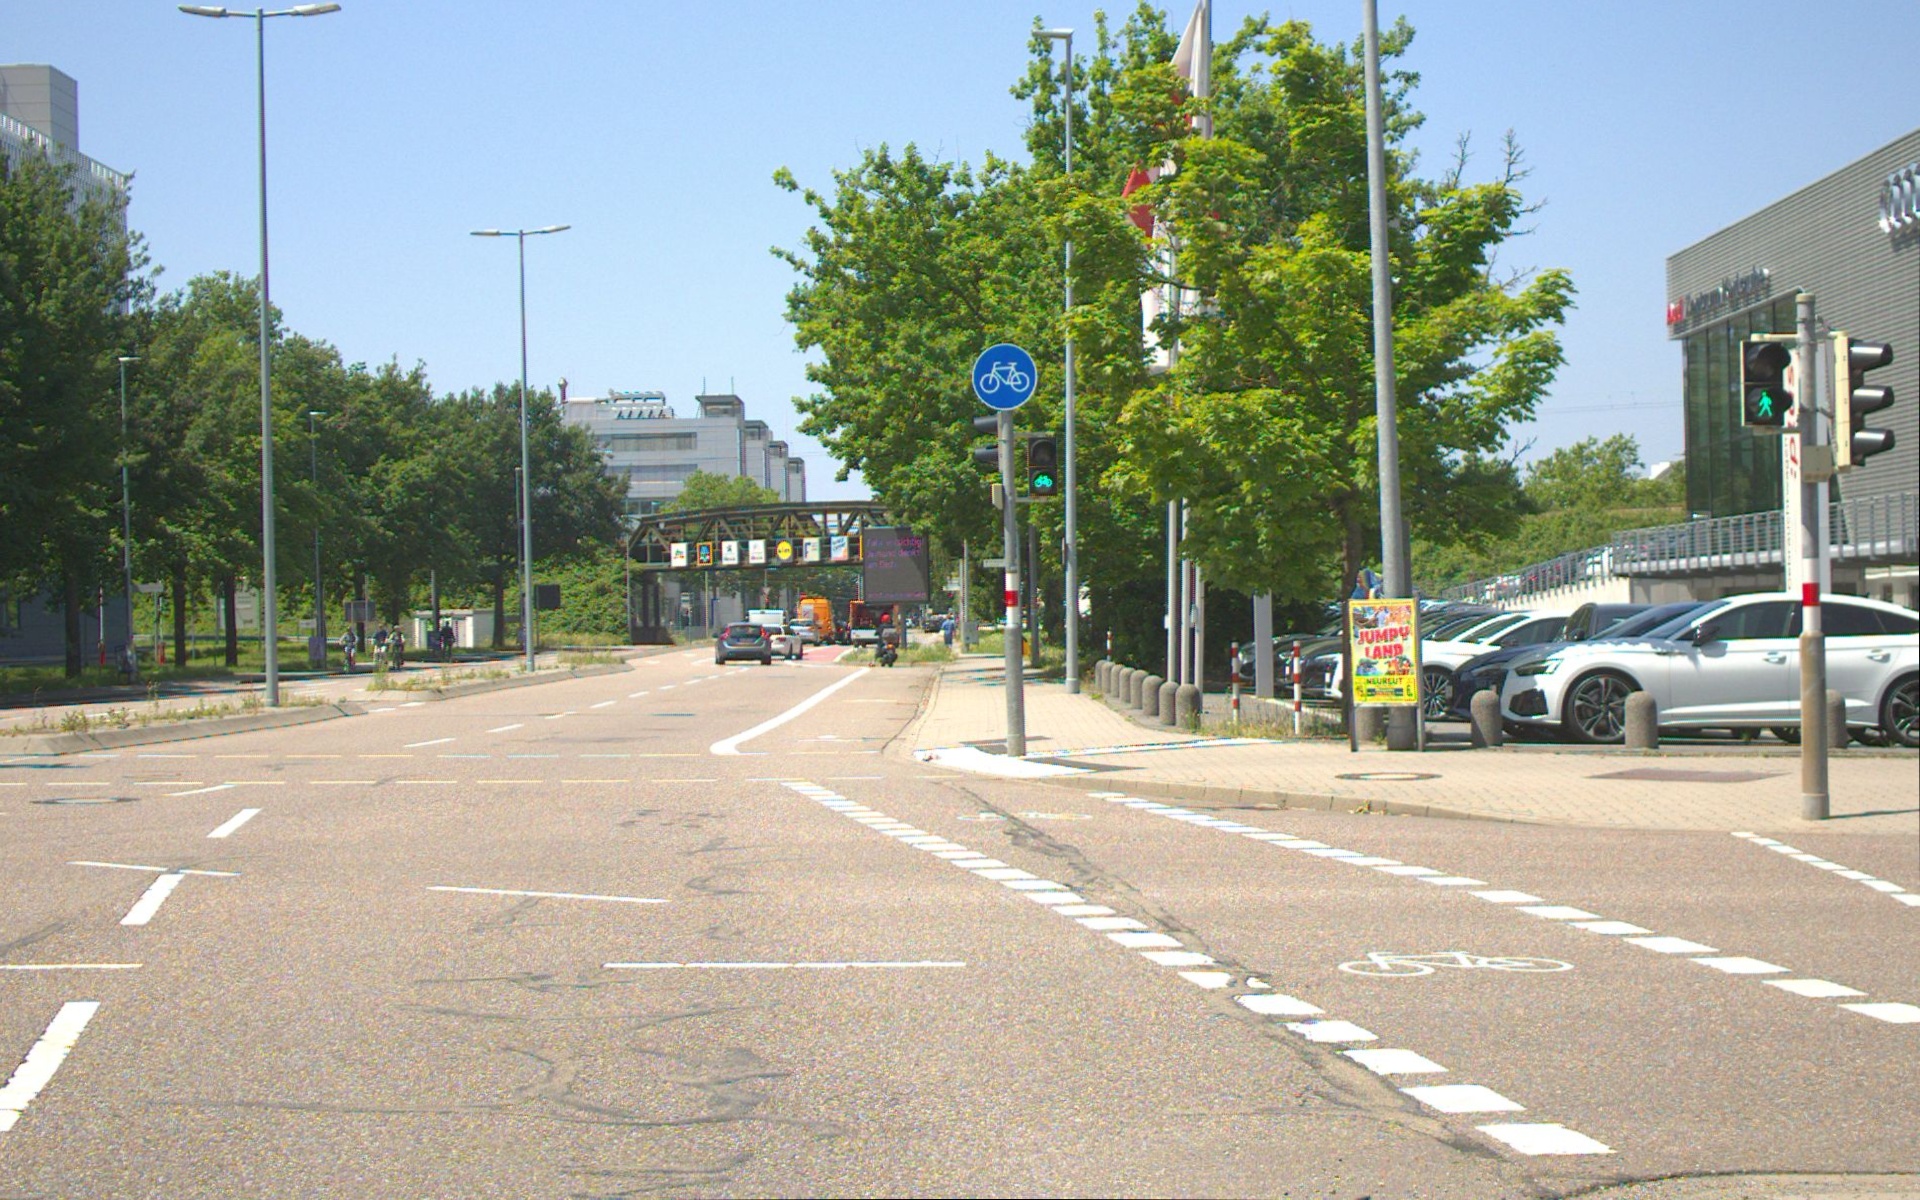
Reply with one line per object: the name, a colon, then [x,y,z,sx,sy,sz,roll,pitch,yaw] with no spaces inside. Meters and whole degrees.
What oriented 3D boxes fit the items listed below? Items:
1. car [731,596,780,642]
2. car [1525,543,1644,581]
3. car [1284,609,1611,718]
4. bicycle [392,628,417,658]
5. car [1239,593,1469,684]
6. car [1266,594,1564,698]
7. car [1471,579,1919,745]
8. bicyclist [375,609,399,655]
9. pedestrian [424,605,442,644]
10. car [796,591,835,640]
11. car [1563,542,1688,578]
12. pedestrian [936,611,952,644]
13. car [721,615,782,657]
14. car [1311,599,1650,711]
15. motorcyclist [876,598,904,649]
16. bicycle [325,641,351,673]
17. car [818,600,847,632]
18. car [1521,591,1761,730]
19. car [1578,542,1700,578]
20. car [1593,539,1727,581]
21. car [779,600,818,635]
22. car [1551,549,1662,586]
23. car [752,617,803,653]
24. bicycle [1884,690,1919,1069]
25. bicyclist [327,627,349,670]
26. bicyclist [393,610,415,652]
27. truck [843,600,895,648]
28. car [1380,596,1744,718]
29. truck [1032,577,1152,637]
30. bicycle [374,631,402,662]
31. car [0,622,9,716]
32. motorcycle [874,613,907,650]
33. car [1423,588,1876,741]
car: [-9.083,0.836,153.066,1.993,2.007,4.000,0,0,-1]
car: [23.087,-1.402,127.182,3.986,1.307,1.798,1,0,-4]
car: [6.709,0.861,47.613,4.226,1.386,1.869,1,0,0]
bicycle: [-21.997,1.693,136.212,0.629,1.155,2.117,-3,0,-1]
car: [6.674,0.653,58.552,3.681,1.448,1.834,1,0,0]
car: [6.651,0.671,50.557,4.101,1.400,1.869,1,0,0]
car: [7.119,0.564,31.580,4.592,1.386,1.869,1,0,2]
bicyclist: [-21.075,1.169,126.532,0.745,1.680,0.952,-1,0,-3]
pedestrian: [-25.471,1.197,166.099,0.743,1.878,0.577,-1,0,1]
car: [-8.573,0.921,204.445,2.072,2.845,6.765,-1,0,-1]
car: [23.099,-1.386,119.438,3.938,1.207,1.717,0,0,-4]
pedestrian: [-0.673,1.142,143.457,0.623,1.370,0.564,-1,0,-1]
car: [-7.172,1.232,118.776,1.900,1.371,4.231,-1,0,-1]
car: [6.741,0.707,44.823,4.099,1.344,1.869,1,0,0]
motorcyclist: [-2.120,0.708,104.227,0.719,1.524,0.871,1,-1,-10]
bicycle: [-22.873,2.091,126.422,0.637,1.130,1.970,-1,0,-1]
car: [-8.217,1.017,221.912,1.751,2.007,3.871,-1,0,-1]
car: [7.504,0.644,38.295,1.863,1.415,4.662,1,0,2]
car: [22.997,-1.354,116.522,3.724,1.127,1.684,1,0,-4]
car: [23.214,-1.327,114.082,3.986,1.307,1.798,1,0,-4]
car: [-8.689,0.912,185.073,1.895,1.809,4.000,-1,0,-1]
car: [22.919,-1.151,121.896,3.523,1.235,1.677,1,0,-4]
car: [-7.330,1.394,138.270,1.924,1.415,4.000,0,0,-1]
bicycle: [3.231,0.850,9.752,0.628,1.129,1.895,0,0,-3]
bicyclist: [-22.877,1.780,126.404,0.637,1.577,0.884,-1,0,0]
bicyclist: [-22.020,1.213,136.200,0.633,1.623,1.044,-3,0,-1]
truck: [-4.682,1.210,177.768,2.458,2.402,7.134,1,0,0]
car: [7.300,0.683,41.988,4.096,1.360,1.874,1,0,0]
truck: [6.487,0.343,169.172,5.595,2.841,2.624,1,0,-5]
bicycle: [-21.069,1.714,126.629,0.739,1.121,2.435,-1,0,-3]
car: [-15.554,1.074,50.293,1.726,1.441,4.719,-3,-1,3]
motorcycle: [-2.116,0.942,104.212,0.716,1.101,1.831,1,-1,-10]
car: [6.785,0.624,34.142,4.096,1.386,1.869,1,0,0]
